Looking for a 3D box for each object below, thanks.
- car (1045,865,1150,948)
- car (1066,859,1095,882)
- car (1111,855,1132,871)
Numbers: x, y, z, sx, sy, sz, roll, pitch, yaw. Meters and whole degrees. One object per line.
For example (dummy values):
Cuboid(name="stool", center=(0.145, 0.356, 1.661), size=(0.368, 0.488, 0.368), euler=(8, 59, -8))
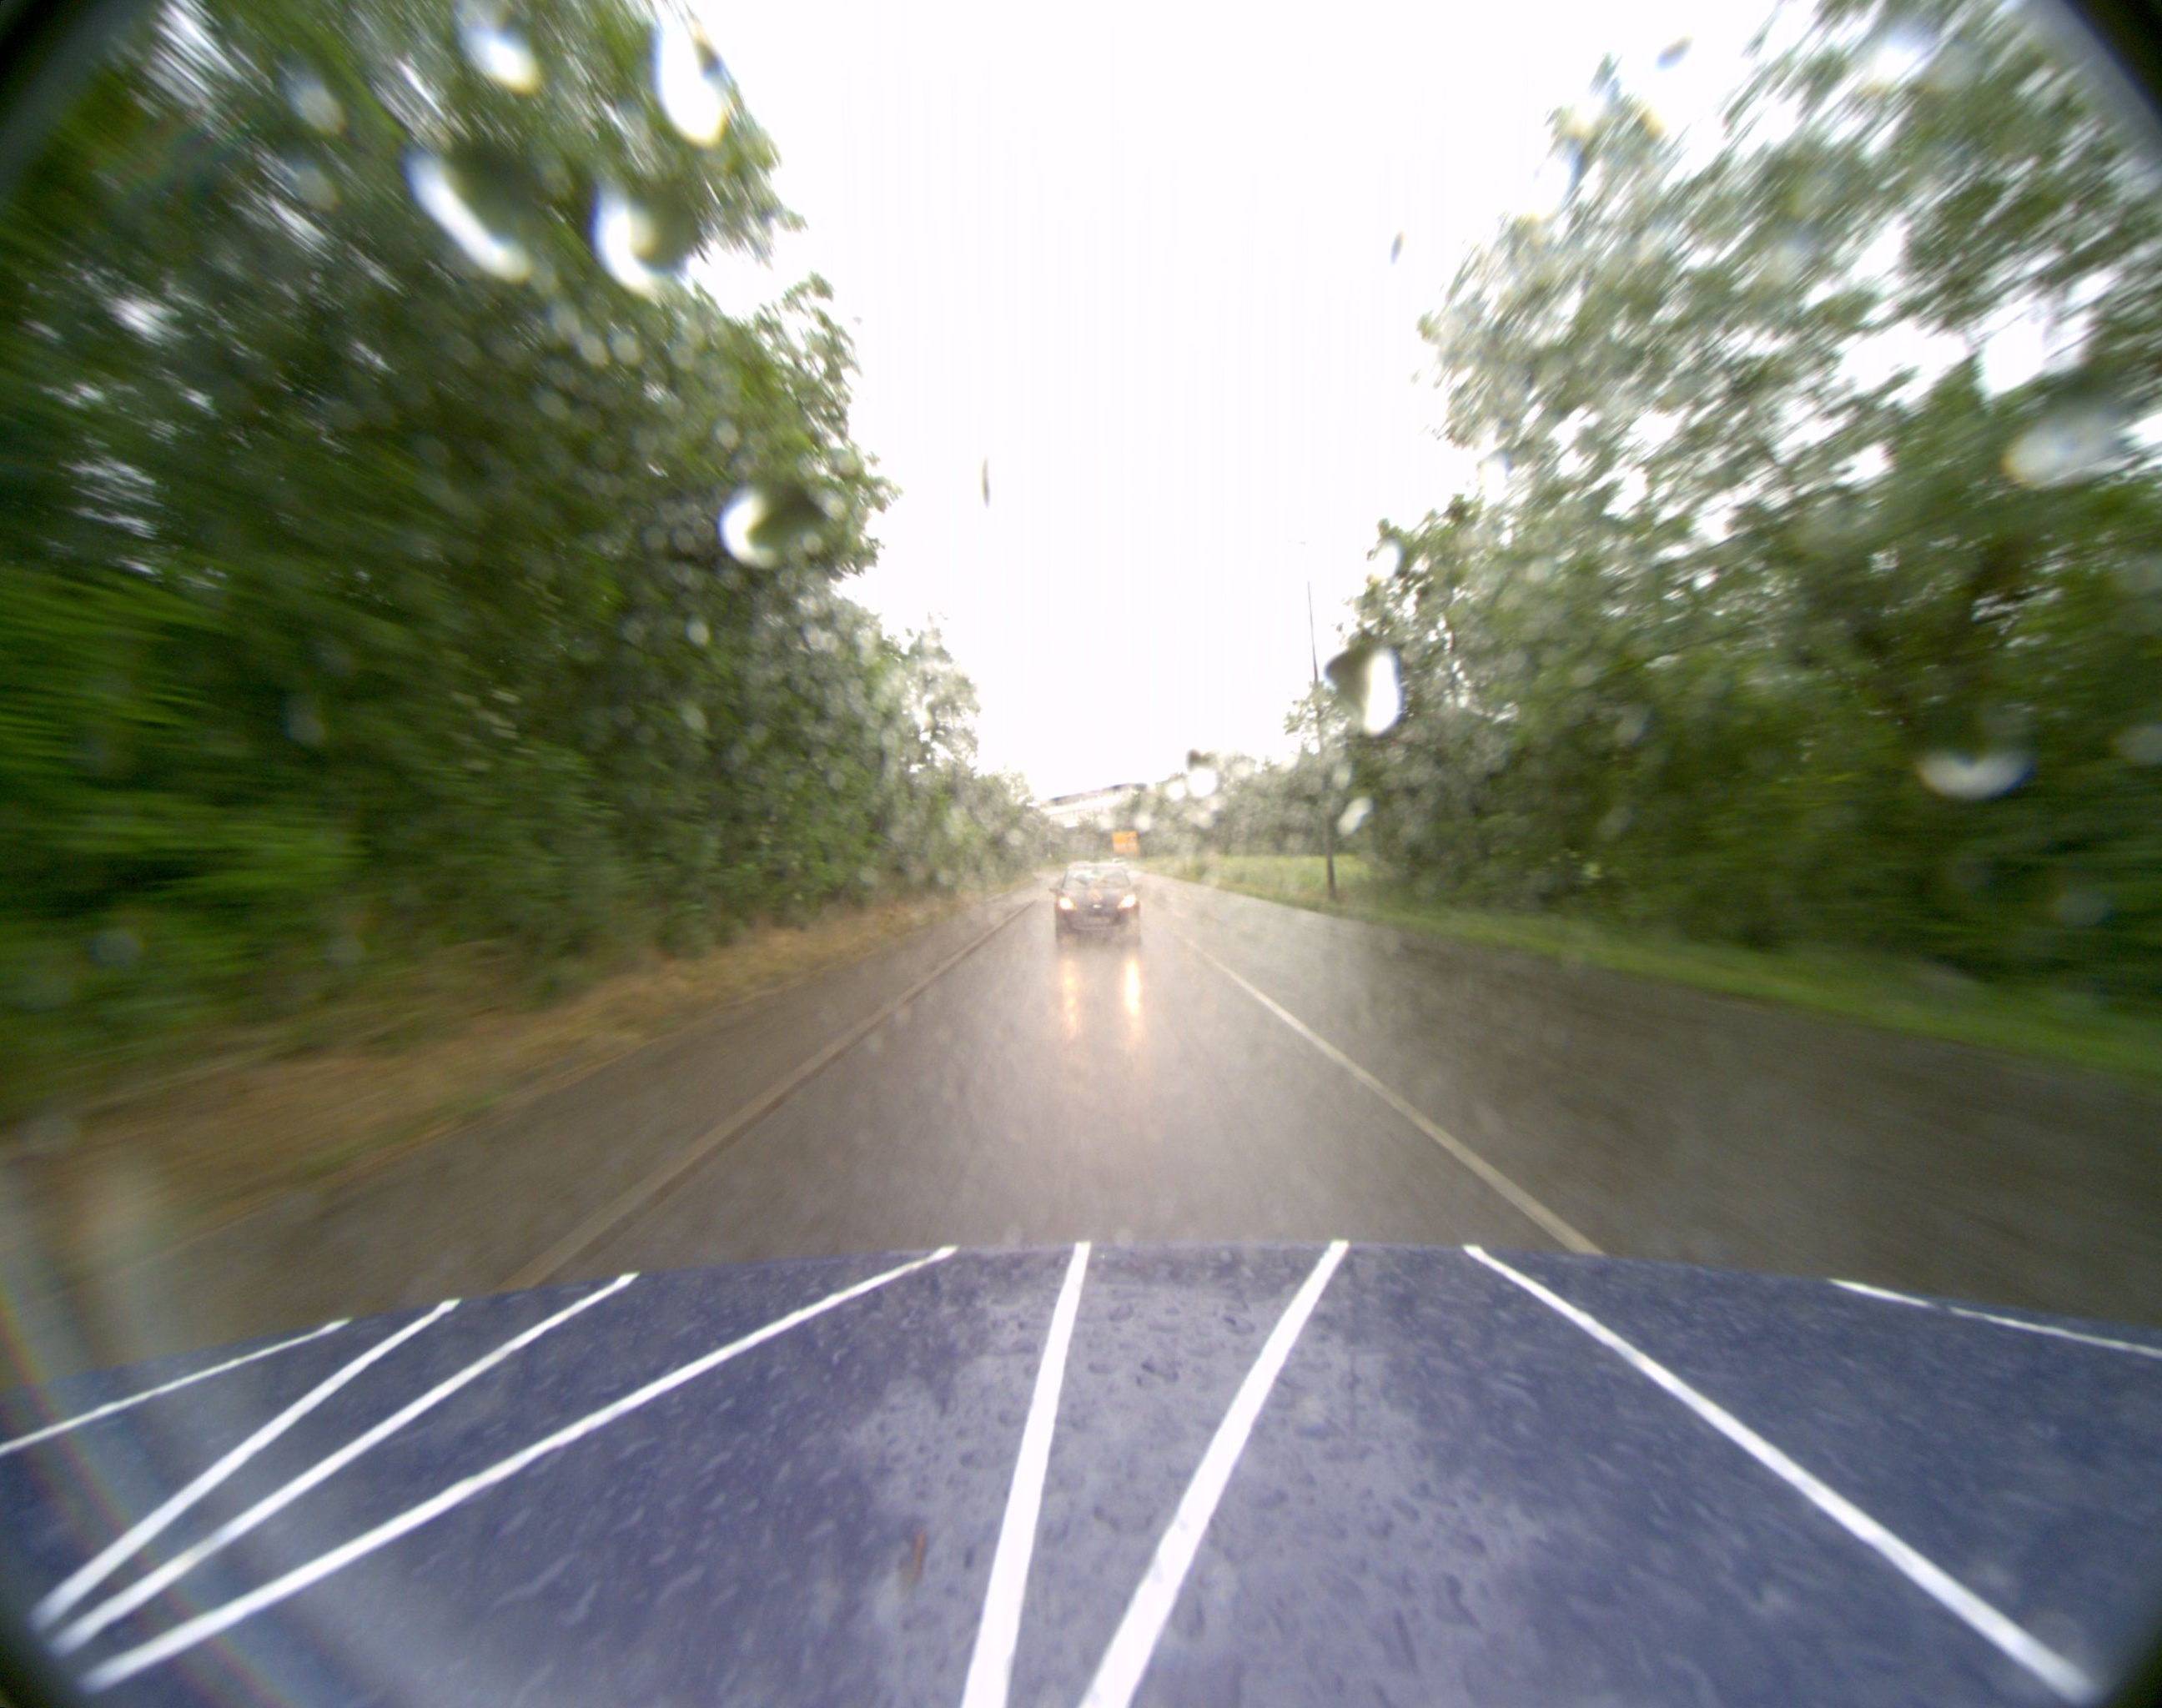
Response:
Cuboid(name="car", center=(0.264, 1.002, 16.242), size=(1.874, 1.432, 4.377), euler=(-3, 0, -1))
Cuboid(name="car", center=(-0.059, 1.081, 51.829), size=(1.874, 1.432, 4.377), euler=(-3, 0, -1))
Cuboid(name="car", center=(3.926, 0.871, 73.964), size=(1.643, 1.480, 3.453), euler=(-2, 0, -2))
